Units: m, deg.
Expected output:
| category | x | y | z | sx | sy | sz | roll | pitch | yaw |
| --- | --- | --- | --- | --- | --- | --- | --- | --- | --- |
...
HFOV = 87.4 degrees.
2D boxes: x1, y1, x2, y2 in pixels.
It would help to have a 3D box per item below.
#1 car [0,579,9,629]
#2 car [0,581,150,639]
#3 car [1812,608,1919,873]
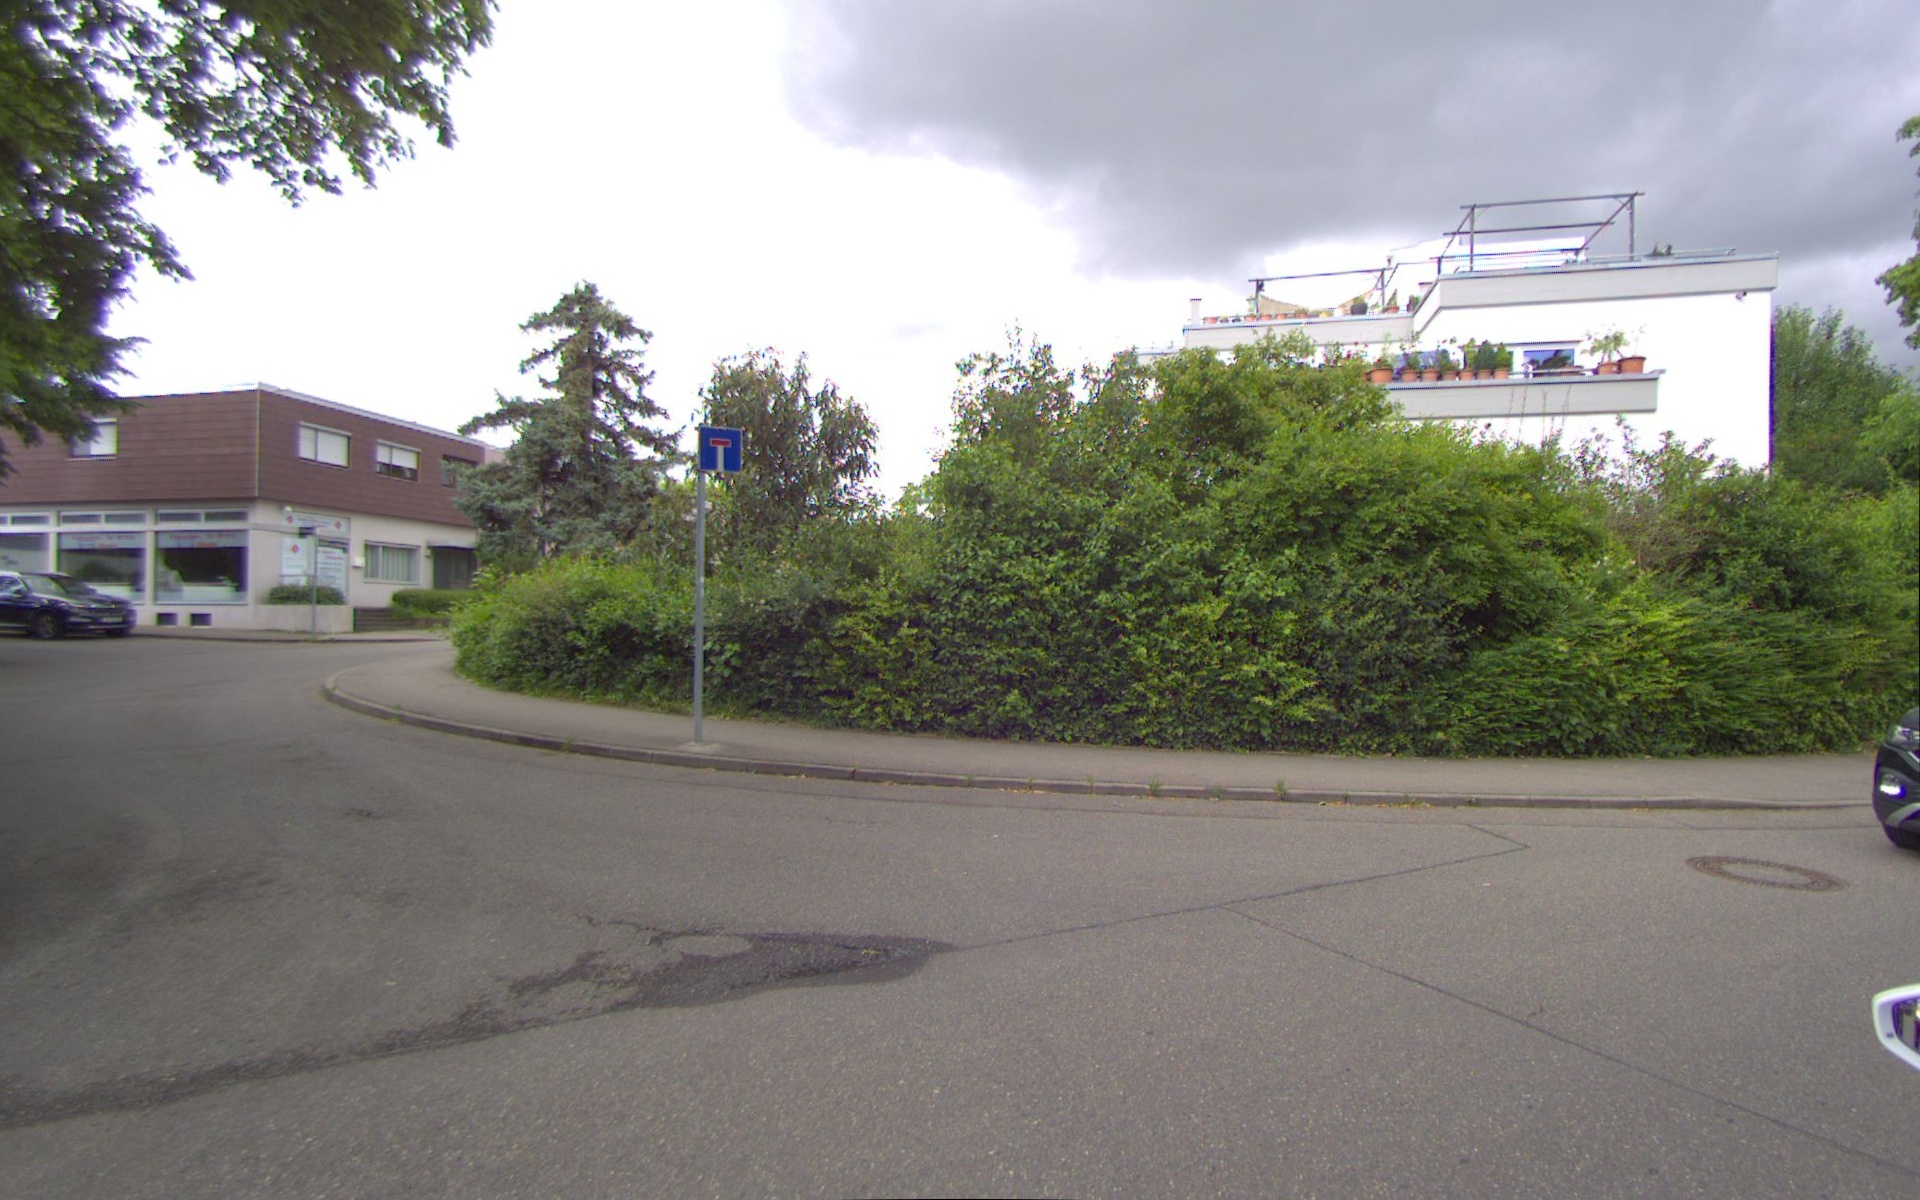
| category | x | y | z | sx | sy | sz | roll | pitch | yaw |
| --- | --- | --- | --- | --- | --- | --- | --- | --- | --- |
| car | -28.616 | 0.097 | 27.391 | 3.919 | 1.394 | 1.976 | 1 | 1 | 11 |
| car | -23.798 | 0.218 | 26.200 | 4.192 | 1.394 | 2.001 | 1 | 1 | 13 |
| car | 7.919 | 0.894 | 6.699 | 4.237 | 1.613 | 1.798 | 1 | 0 | -25 |
